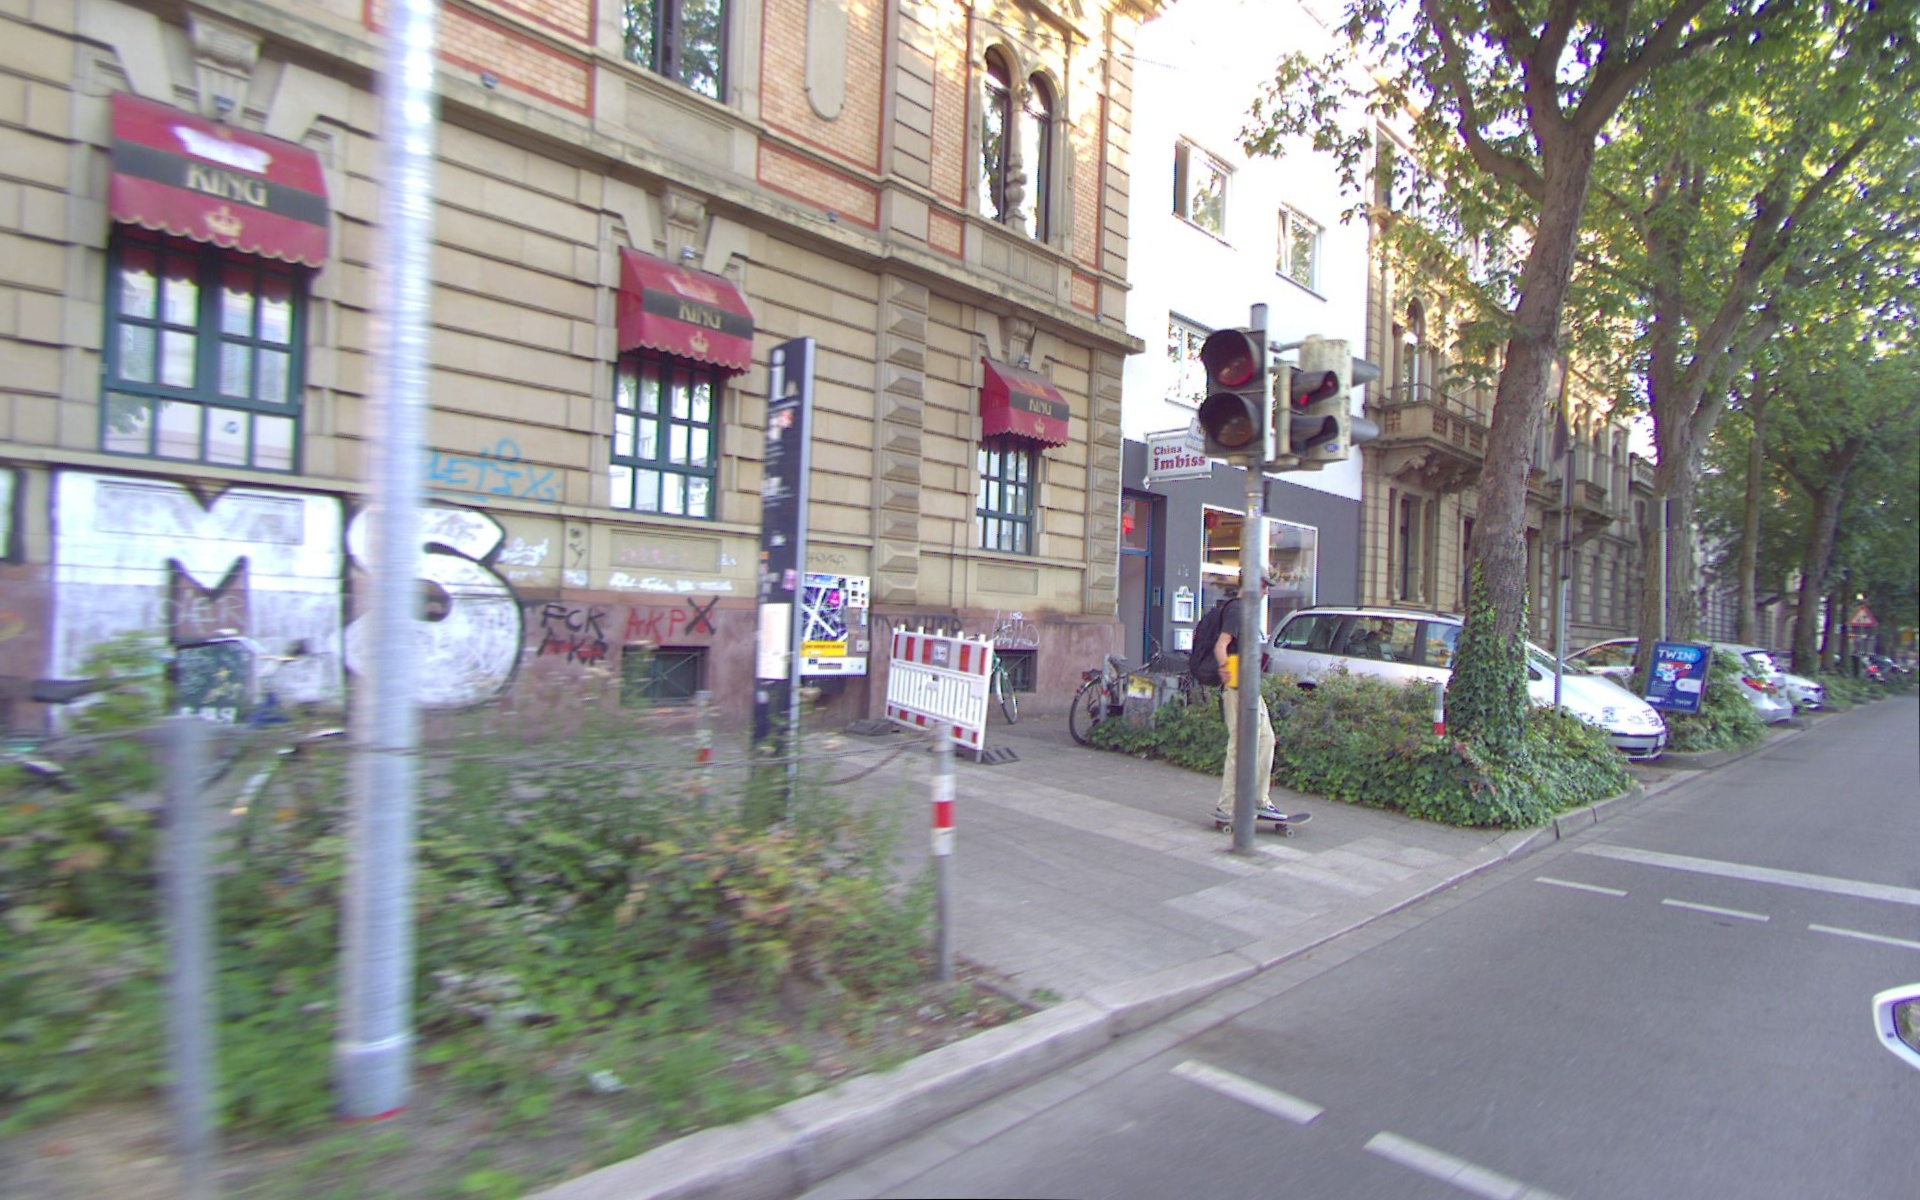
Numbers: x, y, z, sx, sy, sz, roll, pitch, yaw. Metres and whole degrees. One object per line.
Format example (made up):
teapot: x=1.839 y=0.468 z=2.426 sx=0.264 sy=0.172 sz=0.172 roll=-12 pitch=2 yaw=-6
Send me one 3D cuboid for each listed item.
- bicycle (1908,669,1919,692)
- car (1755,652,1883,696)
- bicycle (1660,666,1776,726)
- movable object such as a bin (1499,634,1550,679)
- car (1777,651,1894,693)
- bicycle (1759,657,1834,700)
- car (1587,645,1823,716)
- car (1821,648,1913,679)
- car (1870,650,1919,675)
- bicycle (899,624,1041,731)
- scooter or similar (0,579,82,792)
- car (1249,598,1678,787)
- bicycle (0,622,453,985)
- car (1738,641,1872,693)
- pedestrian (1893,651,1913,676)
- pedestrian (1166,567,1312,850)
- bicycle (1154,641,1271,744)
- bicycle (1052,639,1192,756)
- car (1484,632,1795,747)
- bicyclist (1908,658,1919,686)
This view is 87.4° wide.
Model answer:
bicycle: x=43.929 y=3.687 z=46.032 sx=1.747 sy=1.007 sz=0.665 roll=3 pitch=-2 yaw=-45
car: x=36.712 y=3.112 z=42.995 sx=1.753 sy=1.405 sz=3.927 roll=2 pitch=2 yaw=-43
bicycle: x=15.311 y=1.919 z=20.323 sx=0.594 sy=1.022 sz=1.777 roll=4 pitch=-1 yaw=-43
movable object such as a bin: x=14.607 y=1.456 z=25.973 sx=0.792 sy=1.076 sz=1.309 roll=4 pitch=1 yaw=45
car: x=43.154 y=3.512 z=49.573 sx=1.895 sy=1.694 sz=4.159 roll=3 pitch=0 yaw=-44
bicycle: x=26.797 y=2.505 z=32.207 sx=0.496 sy=1.248 sz=1.757 roll=4 pitch=-2 yaw=-39
car: x=18.507 y=1.943 z=25.109 sx=1.903 sy=1.408 sz=4.471 roll=4 pitch=-2 yaw=-42
car: x=60.088 y=4.194 z=66.610 sx=1.860 sy=1.673 sz=4.383 roll=3 pitch=0 yaw=-43
car: x=104.782 y=6.991 z=112.083 sx=1.987 sy=2.510 sz=4.636 roll=4 pitch=-2 yaw=-44
bicycle: x=0.151 y=0.874 z=11.679 sx=0.493 sy=1.122 sz=1.789 roll=5 pitch=1 yaw=44
scooter or similar: x=-5.852 y=0.487 z=5.715 sx=1.264 sy=1.214 sz=0.380 roll=1 pitch=2 yaw=-45
car: x=6.115 y=0.994 z=12.562 sx=4.377 sy=1.745 sz=1.880 roll=4 pitch=0 yaw=44
bicycle: x=-2.922 y=0.669 z=3.697 sx=0.492 sy=1.122 sz=1.792 roll=4 pitch=1 yaw=39
car: x=34.343 y=2.701 z=40.902 sx=1.769 sy=1.618 sz=3.926 roll=4 pitch=2 yaw=-44
pedestrian: x=66.371 y=4.468 z=70.667 sx=0.787 sy=1.692 sz=0.825 roll=3 pitch=-2 yaw=-28
pedestrian: x=1.890 y=0.693 z=6.921 sx=0.814 sy=1.801 sz=0.767 roll=3 pitch=2 yaw=10
bicycle: x=3.079 y=1.087 z=12.146 sx=0.493 sy=1.122 sz=1.789 roll=5 pitch=1 yaw=44
bicycle: x=1.770 y=1.007 z=10.764 sx=0.493 sy=1.122 sz=1.789 roll=5 pitch=1 yaw=44
car: x=11.646 y=1.454 z=17.423 sx=1.813 sy=1.577 sz=4.133 roll=3 pitch=-1 yaw=-41
bicyclist: x=43.957 y=3.308 z=46.053 sx=0.644 sy=1.280 sz=0.665 roll=3 pitch=-2 yaw=-44
